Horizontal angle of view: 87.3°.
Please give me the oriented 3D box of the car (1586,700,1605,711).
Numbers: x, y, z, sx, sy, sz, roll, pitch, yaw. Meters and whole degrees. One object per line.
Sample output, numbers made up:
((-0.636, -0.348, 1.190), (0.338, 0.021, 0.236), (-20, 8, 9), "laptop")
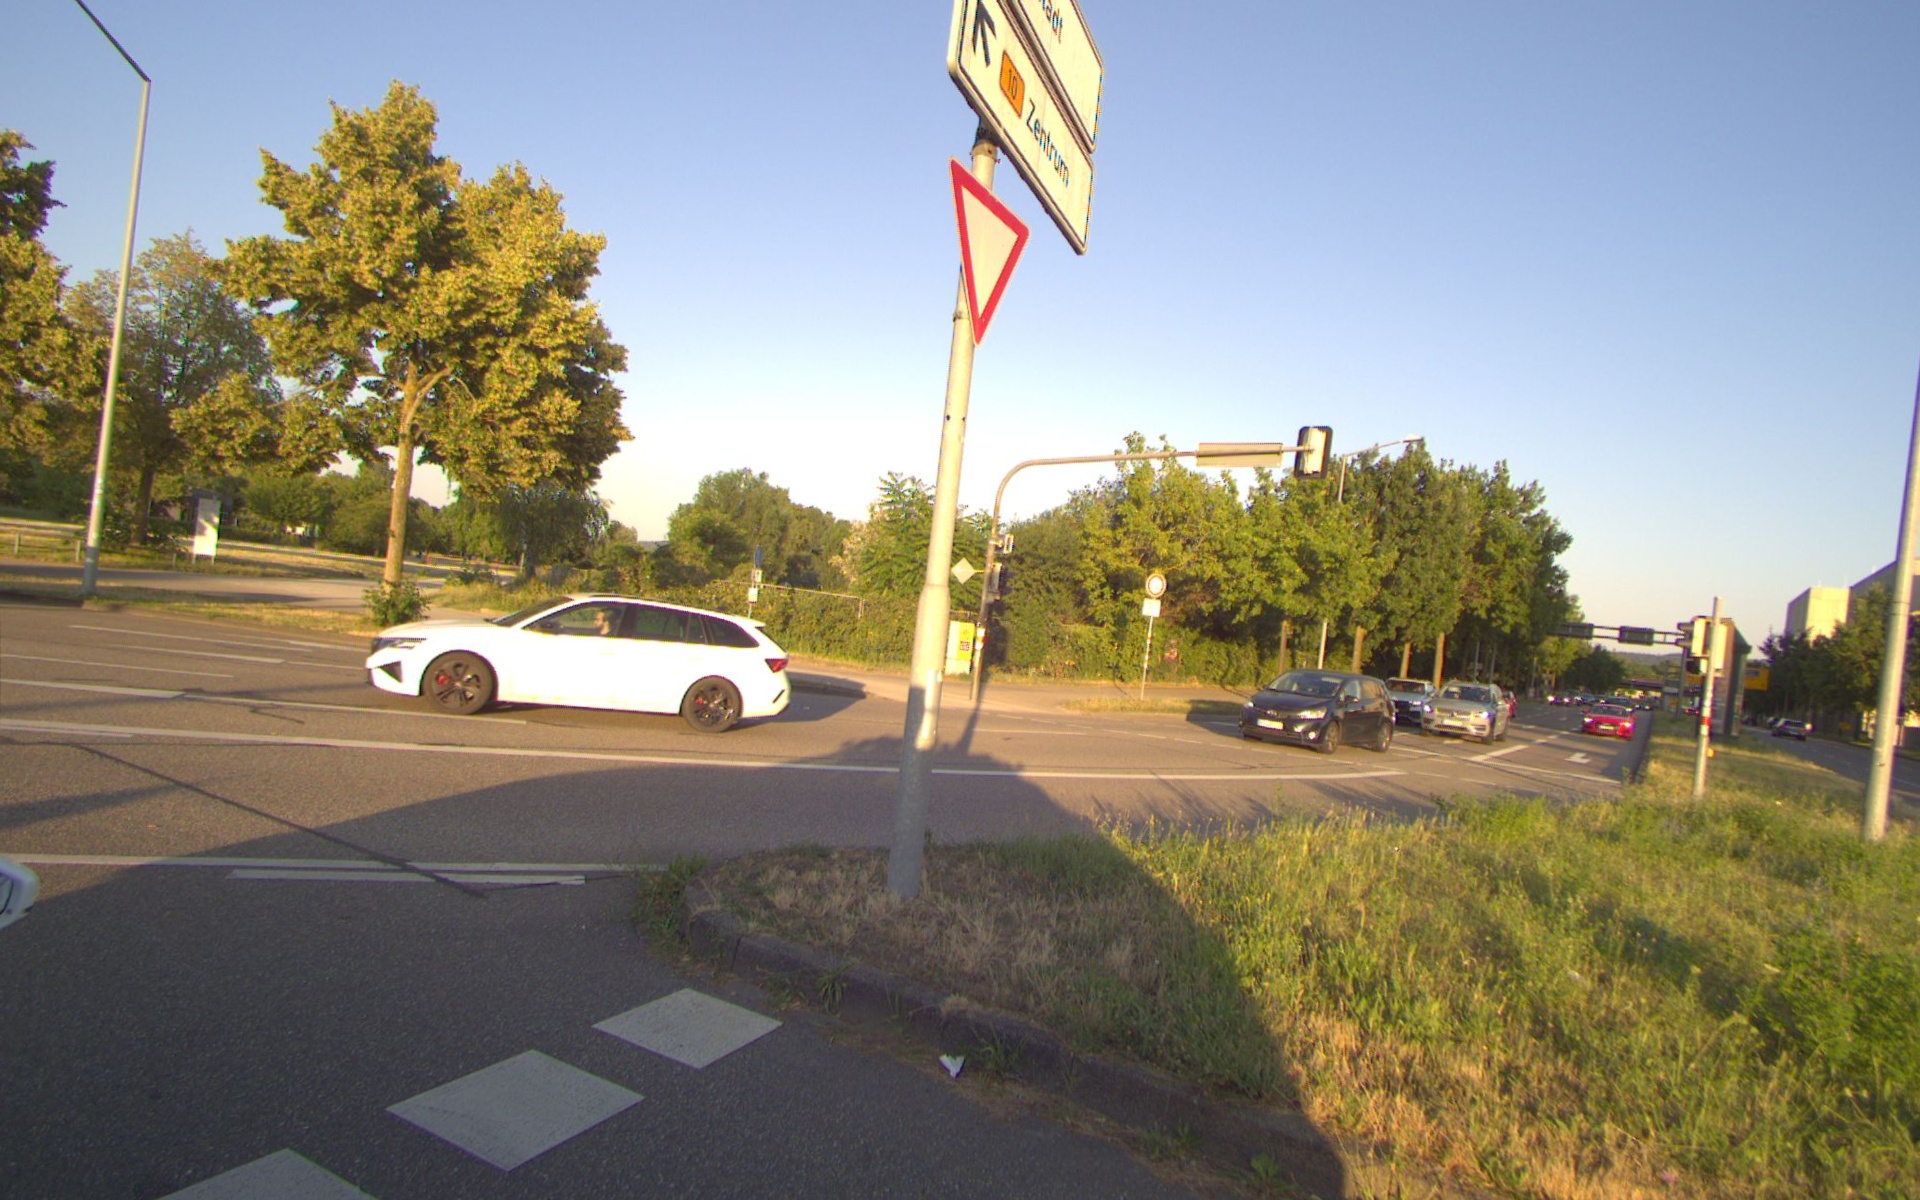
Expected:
((87.431, 14.542, 138.389), (1.847, 1.324, 4.128), (5, -2, 35), "car")

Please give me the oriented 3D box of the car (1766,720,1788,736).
((97.451, 15.244, 119.970), (1.725, 1.506, 4.121), (7, -1, 37), "car")

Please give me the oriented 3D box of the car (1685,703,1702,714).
((127.522, 18.890, 174.938), (1.967, 1.488, 3.991), (7, 0, 33), "car")

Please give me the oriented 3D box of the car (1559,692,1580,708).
((65.150, 10.675, 107.458), (1.594, 1.536, 3.706), (5, -2, 35), "car")

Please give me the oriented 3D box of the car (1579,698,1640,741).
((28.369, 5.203, 43.875), (1.817, 1.477, 4.568), (7, -1, 36), "car")

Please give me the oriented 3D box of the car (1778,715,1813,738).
((62.655, 9.481, 75.402), (1.727, 1.441, 4.114), (7, 0, 42), "car")

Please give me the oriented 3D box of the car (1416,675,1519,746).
((15.467, 3.351, 30.532), (1.893, 1.775, 4.907), (6, -2, 36), "car")

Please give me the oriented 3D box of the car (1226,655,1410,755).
((7.410, 2.183, 20.562), (1.780, 1.652, 4.433), (6, -2, 44), "car")

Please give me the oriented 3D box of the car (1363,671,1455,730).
((16.370, 3.664, 36.529), (1.884, 1.730, 4.927), (7, -1, 36), "car")

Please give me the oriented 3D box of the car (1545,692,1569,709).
((57.053, 9.607, 96.170), (1.594, 1.324, 3.707), (5, -2, 35), "car")

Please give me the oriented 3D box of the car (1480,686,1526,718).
((30.434, 5.745, 56.354), (1.700, 1.500, 3.623), (5, -2, 36), "car")

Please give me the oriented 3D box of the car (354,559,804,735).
((-4.303, 0.577, 11.715), (4.498, 1.466, 1.715), (8, 0, -29), "car")

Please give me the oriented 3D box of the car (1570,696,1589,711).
((75.083, 12.528, 121.909), (1.594, 1.536, 3.706), (5, -2, 35), "car")
